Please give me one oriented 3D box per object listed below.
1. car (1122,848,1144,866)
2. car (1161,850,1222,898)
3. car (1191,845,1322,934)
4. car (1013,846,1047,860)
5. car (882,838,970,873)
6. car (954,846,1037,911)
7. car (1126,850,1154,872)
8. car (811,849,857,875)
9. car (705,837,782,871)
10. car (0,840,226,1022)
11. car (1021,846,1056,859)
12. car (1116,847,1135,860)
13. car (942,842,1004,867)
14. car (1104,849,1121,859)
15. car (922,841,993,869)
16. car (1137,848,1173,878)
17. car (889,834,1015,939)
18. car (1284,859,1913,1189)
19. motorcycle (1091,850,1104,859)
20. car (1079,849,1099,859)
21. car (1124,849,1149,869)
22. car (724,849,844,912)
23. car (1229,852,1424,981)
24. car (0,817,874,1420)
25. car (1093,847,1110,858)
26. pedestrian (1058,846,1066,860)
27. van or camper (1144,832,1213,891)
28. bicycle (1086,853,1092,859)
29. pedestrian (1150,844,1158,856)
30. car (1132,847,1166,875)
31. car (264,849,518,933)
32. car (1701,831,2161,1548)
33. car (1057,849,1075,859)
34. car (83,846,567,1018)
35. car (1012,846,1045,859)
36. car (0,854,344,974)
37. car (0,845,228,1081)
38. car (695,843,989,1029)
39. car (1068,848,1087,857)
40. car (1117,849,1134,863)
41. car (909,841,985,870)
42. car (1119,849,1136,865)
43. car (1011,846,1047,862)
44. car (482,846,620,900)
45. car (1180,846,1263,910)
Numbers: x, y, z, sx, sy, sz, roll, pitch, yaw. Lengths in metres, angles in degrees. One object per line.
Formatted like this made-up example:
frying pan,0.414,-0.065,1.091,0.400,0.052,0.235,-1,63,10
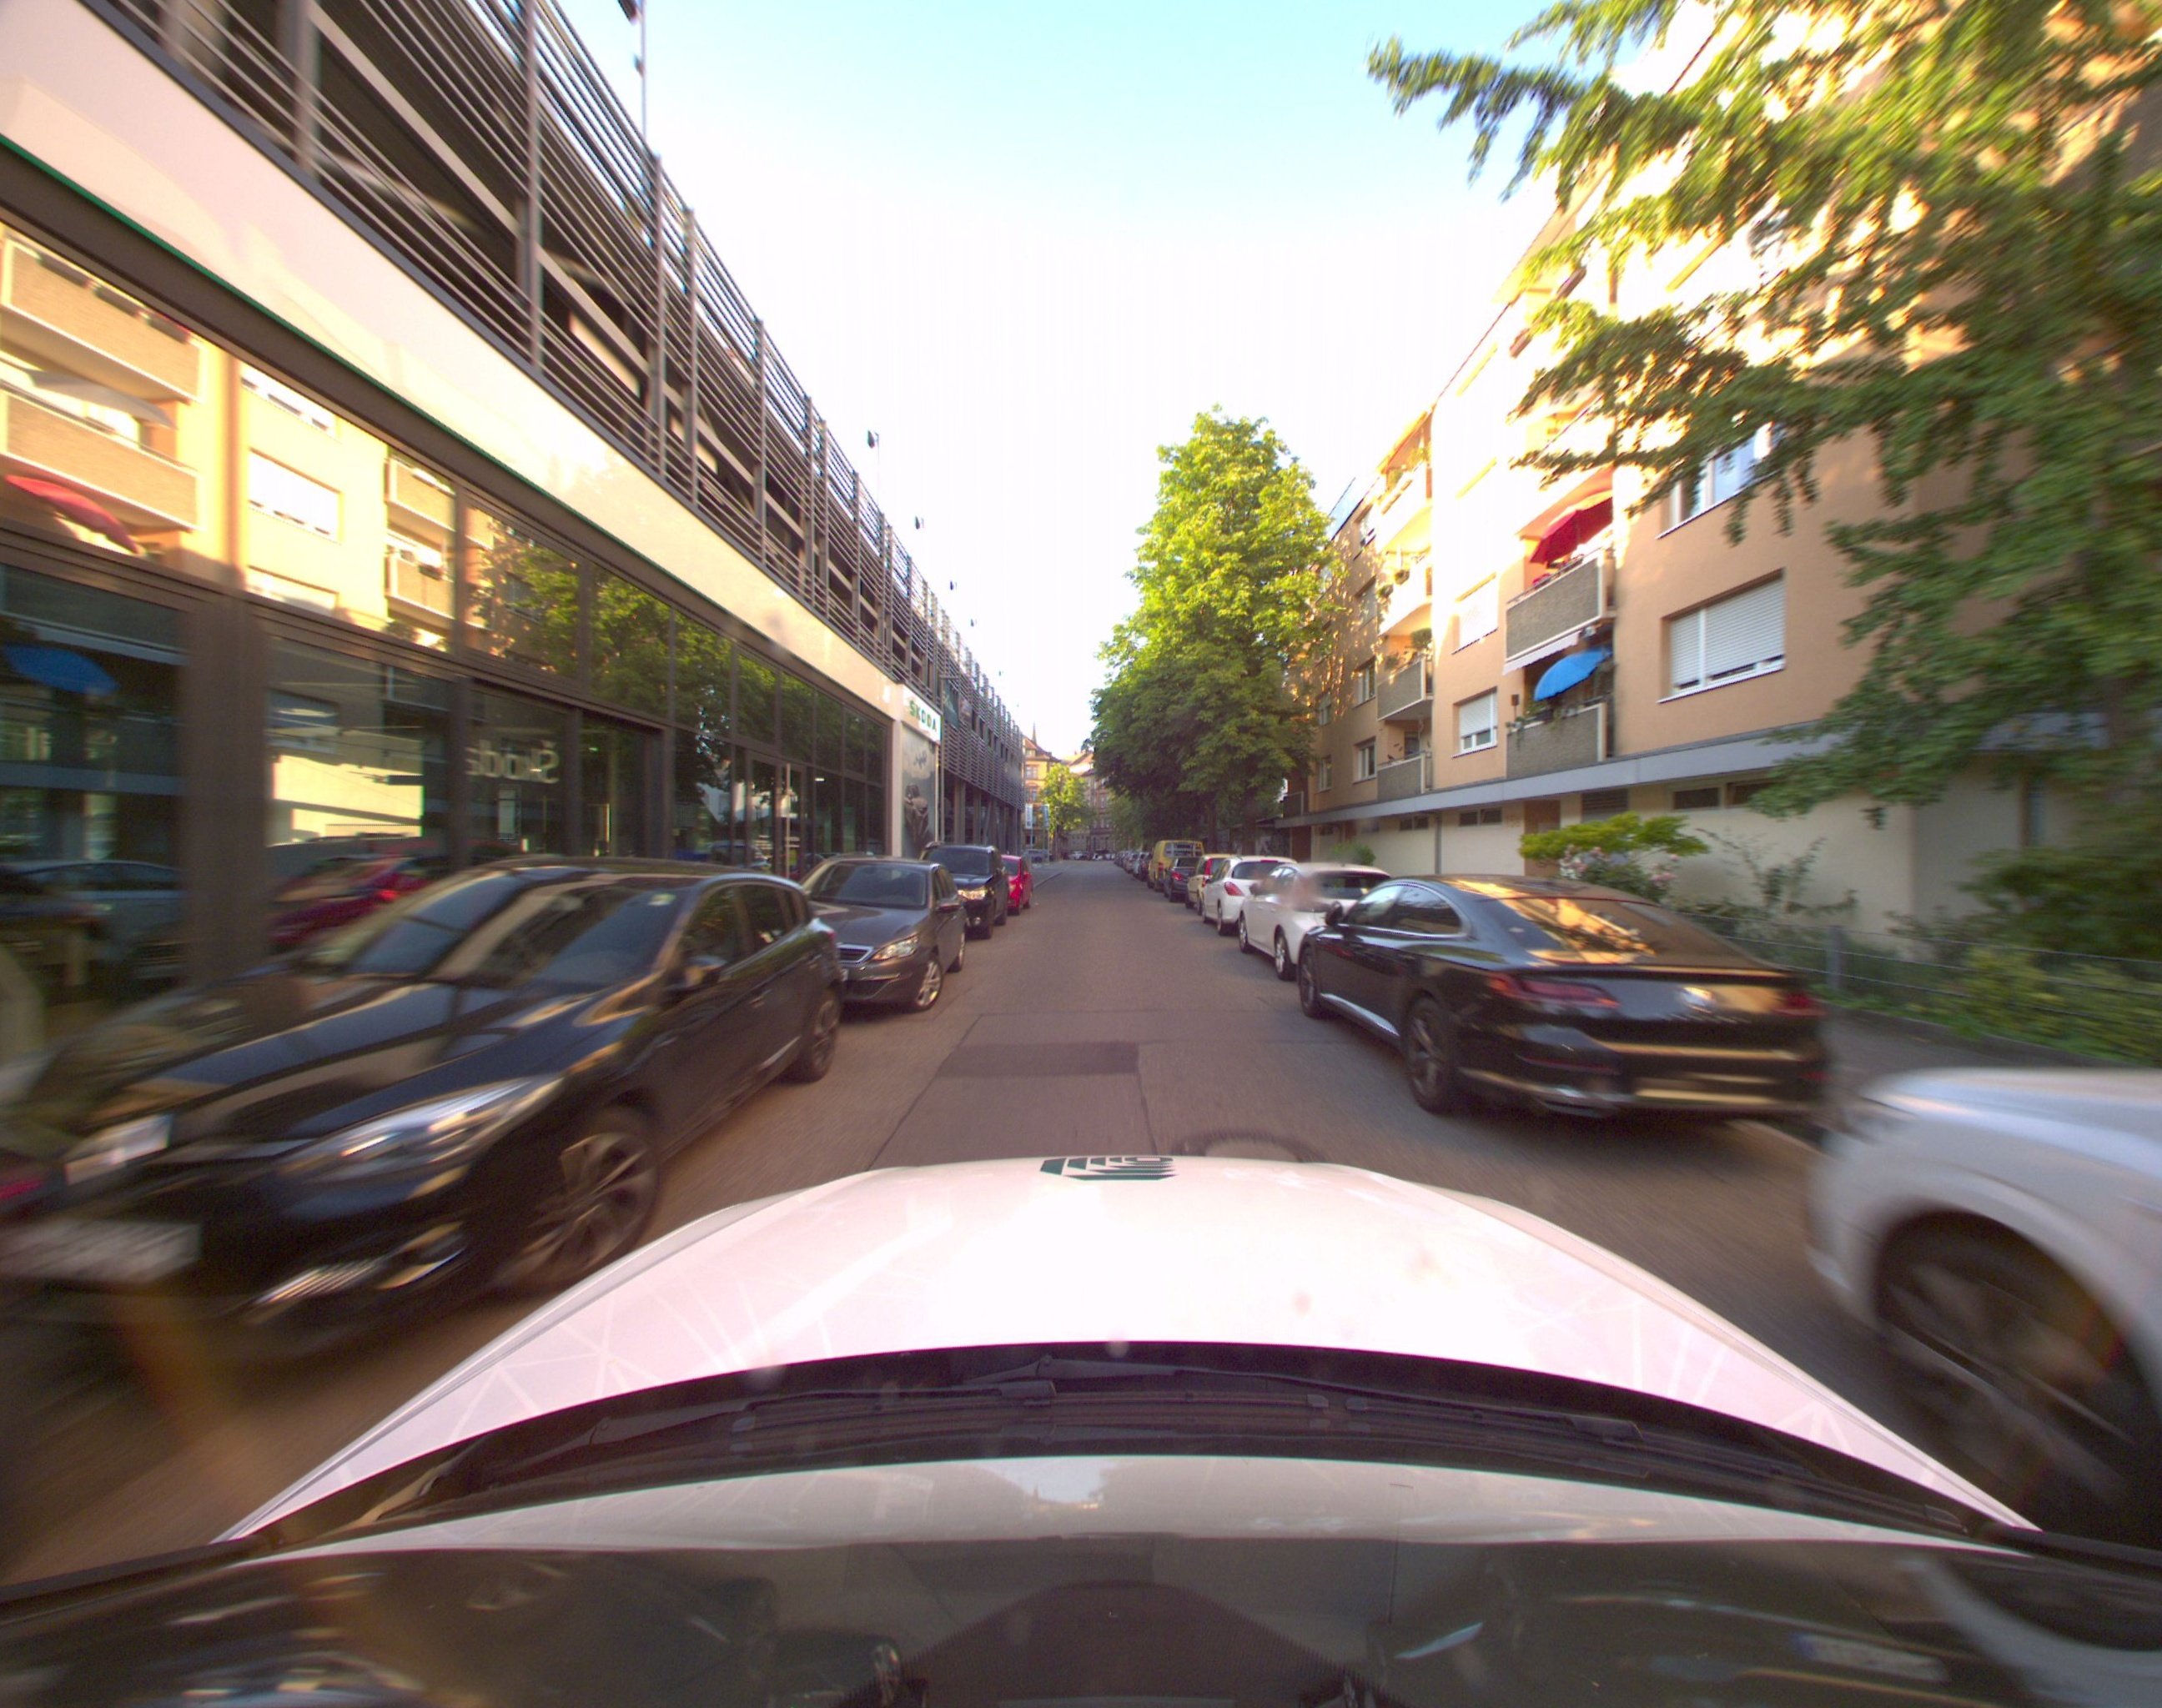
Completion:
car,4.655,0.228,73.498,1.753,1.604,3.874,0,0,1
car,3.497,0.590,26.388,1.600,1.381,4.003,0,1,2
car,3.382,0.601,16.467,1.785,1.562,4.194,0,1,1
car,-6.161,-0.150,99.261,4.055,1.618,1.764,0,1,-2
car,-7.737,0.066,40.890,4.010,1.683,1.861,0,1,1
car,-2.120,0.568,21.179,1.692,1.506,3.791,0,1,1
car,4.144,0.450,57.743,1.753,1.442,4.006,0,1,1
car,-12.749,0.401,42.189,1.352,1.255,3.215,0,1,1
car,-12.911,-0.039,31.392,1.414,1.255,3.528,0,1,1
car,-10.660,0.705,7.145,1.691,1.658,4.326,0,1,1
car,-6.007,-0.202,114.923,4.822,1.732,1.917,1,1,-6
car,4.915,-0.083,90.194,1.691,1.476,3.556,0,0,-3
car,-7.588,0.029,57.387,4.072,1.683,1.861,0,1,1
car,5.091,0.051,131.284,1.682,1.525,2.746,1,1,-23
car,-7.619,0.062,50.530,4.087,1.683,1.861,0,1,1
car,3.777,0.433,42.003,1.557,1.450,3.454,0,1,0
car,-2.335,0.506,15.851,1.691,1.756,4.404,0,1,1
car,2.948,0.794,6.049,1.803,1.416,4.626,0,1,1
motorcycle,2.545,0.142,122.930,1.931,1.340,0.575,0,1,-10
car,1.215,0.056,126.189,1.662,1.431,3.960,0,1,-23
car,4.242,0.350,62.707,1.753,1.454,4.393,0,1,1
car,-7.626,0.613,21.283,1.692,1.473,3.782,0,1,1
car,3.243,0.726,11.566,1.604,1.461,4.055,0,1,1
car,-2.468,0.644,4.068,1.723,1.402,4.006,5,1,0
car,3.411,-0.224,134.754,1.682,1.782,2.992,0,1,-23
pedestrian,-2.407,-0.124,104.835,0.737,1.804,1.114,0,1,-19
van or camper,3.706,0.216,31.712,2.057,2.095,5.090,0,1,0
bicycle,1.155,0.250,120.825,0.421,0.822,1.470,0,1,23
pedestrian,11.261,-0.596,125.629,0.843,1.804,0.771,0,1,-20
car,3.904,0.354,47.360,1.716,1.519,4.026,0,1,1
car,-13.508,0.643,16.303,1.691,1.434,3.920,0,1,1
car,3.018,0.671,0.885,1.803,1.416,3.897,0,1,1
car,-2.570,0.008,135.144,1.662,1.431,3.866,0,1,-23
car,-7.982,0.671,9.238,1.691,1.514,3.995,0,1,1
car,-6.649,-0.230,103.444,4.036,1.475,1.919,2,1,-3
car,-13.530,0.739,12.014,1.691,1.434,3.920,0,1,1
car,-7.814,0.717,4.515,1.691,1.514,4.193,0,1,1
car,-2.340,0.691,9.263,1.929,1.596,4.208,0,1,3
car,-0.598,-0.232,130.746,1.661,1.431,4.138,0,1,-21
car,4.656,0.214,85.642,1.689,1.476,4.118,0,0,1
car,-7.869,0.056,48.037,4.087,1.683,1.861,0,1,1
car,4.627,0.291,81.010,1.591,1.476,3.774,0,0,1
car,-6.117,-0.008,96.067,4.117,1.617,1.912,2,1,-2
car,-13.667,0.443,21.211,1.414,1.255,3.215,0,1,1
car,3.588,0.561,21.319,1.604,1.510,3.478,0,1,1
